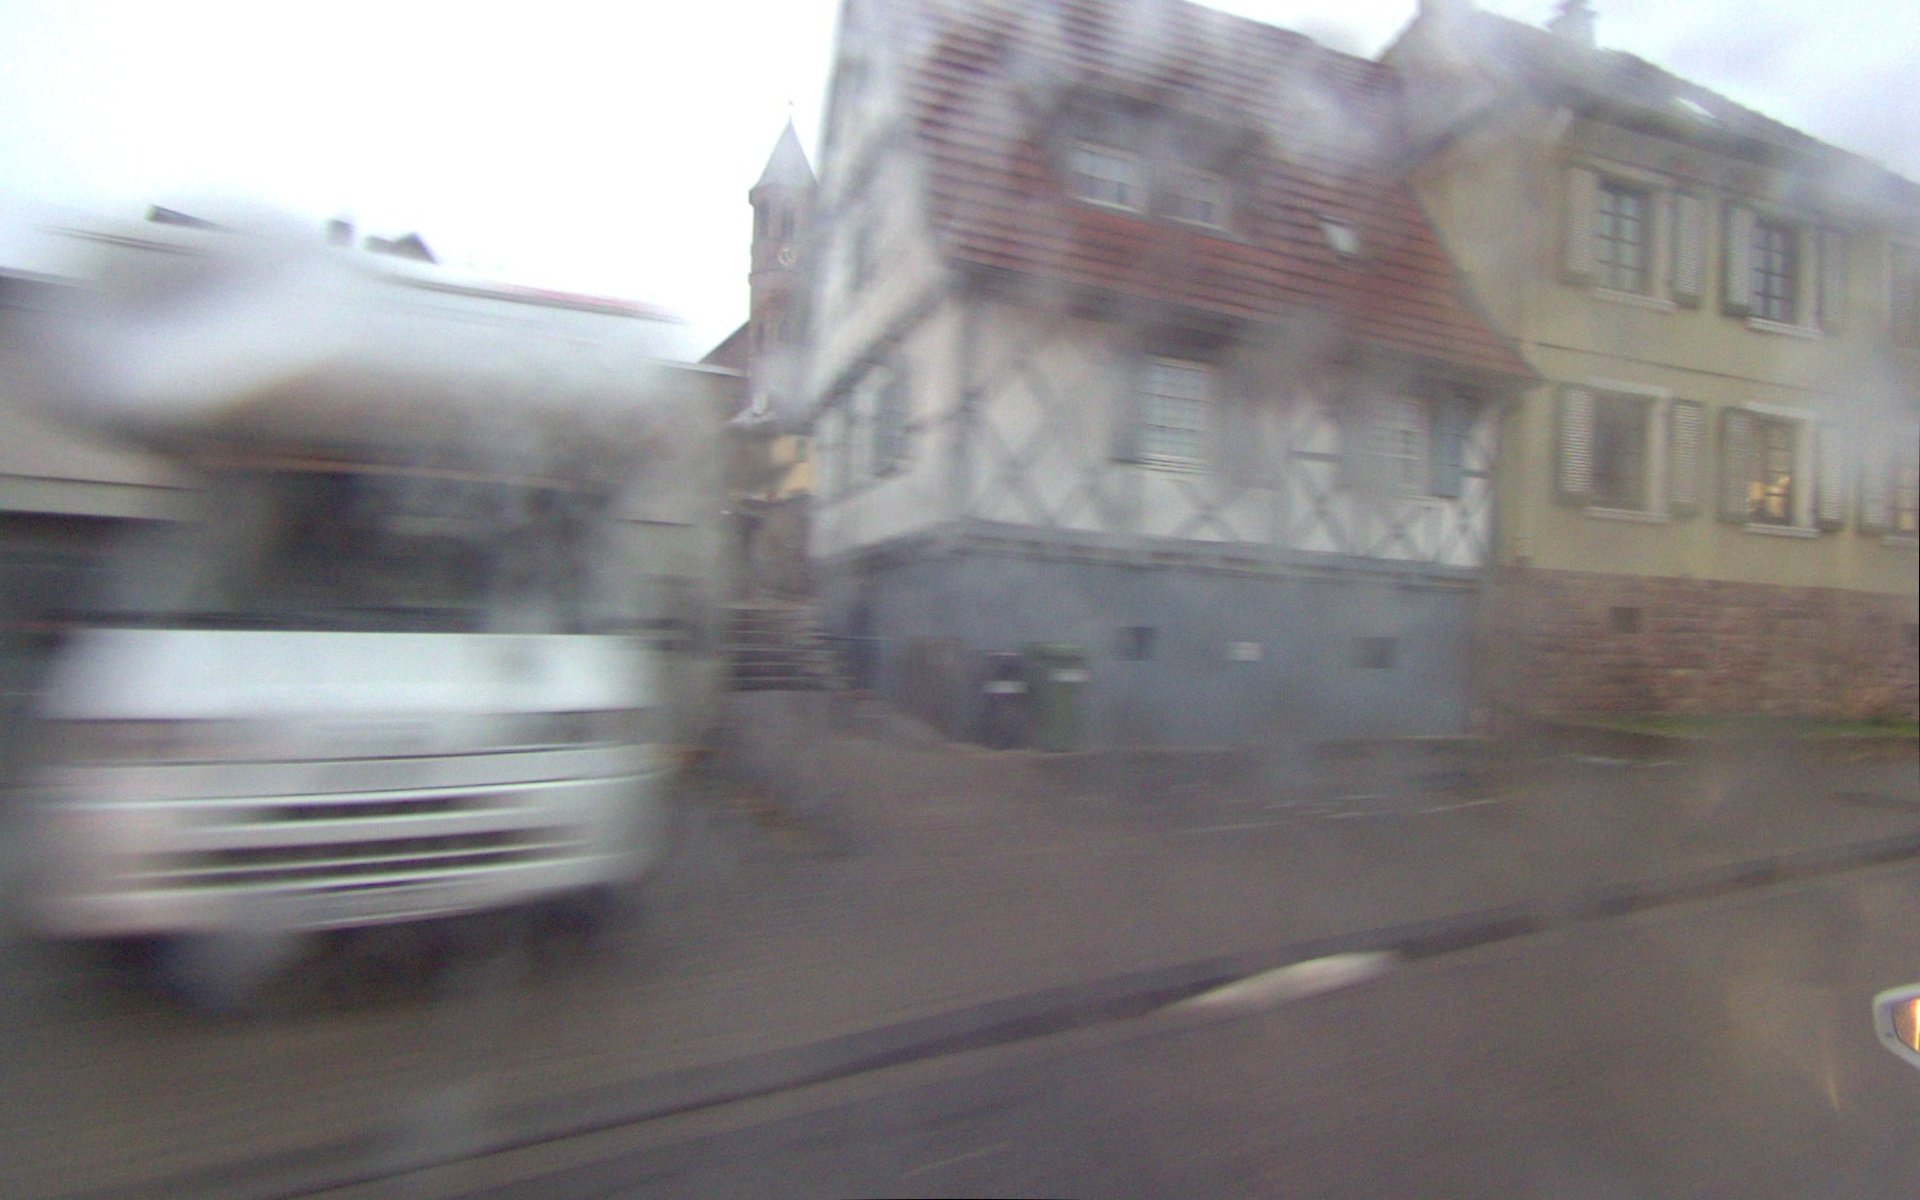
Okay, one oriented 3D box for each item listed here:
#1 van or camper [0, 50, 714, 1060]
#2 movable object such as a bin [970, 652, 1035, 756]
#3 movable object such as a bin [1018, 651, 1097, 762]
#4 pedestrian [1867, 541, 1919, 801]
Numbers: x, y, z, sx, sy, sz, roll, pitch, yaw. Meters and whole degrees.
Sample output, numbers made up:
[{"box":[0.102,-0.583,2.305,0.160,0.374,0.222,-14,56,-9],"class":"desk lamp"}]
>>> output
[{"box":[-3.275,0.017,6.102,2.292,2.980,6.041,1,-3,-25],"class":"van or camper"},{"box":[0.416,1.003,9.838,0.494,0.961,0.456,1,0,-19],"class":"movable object such as a bin"},{"box":[0.961,1.044,10.018,0.571,1.034,0.616,1,0,-19],"class":"movable object such as a bin"},{"box":[7.957,0.572,7.987,0.857,2.040,0.781,2,0,-24],"class":"pedestrian"}]
